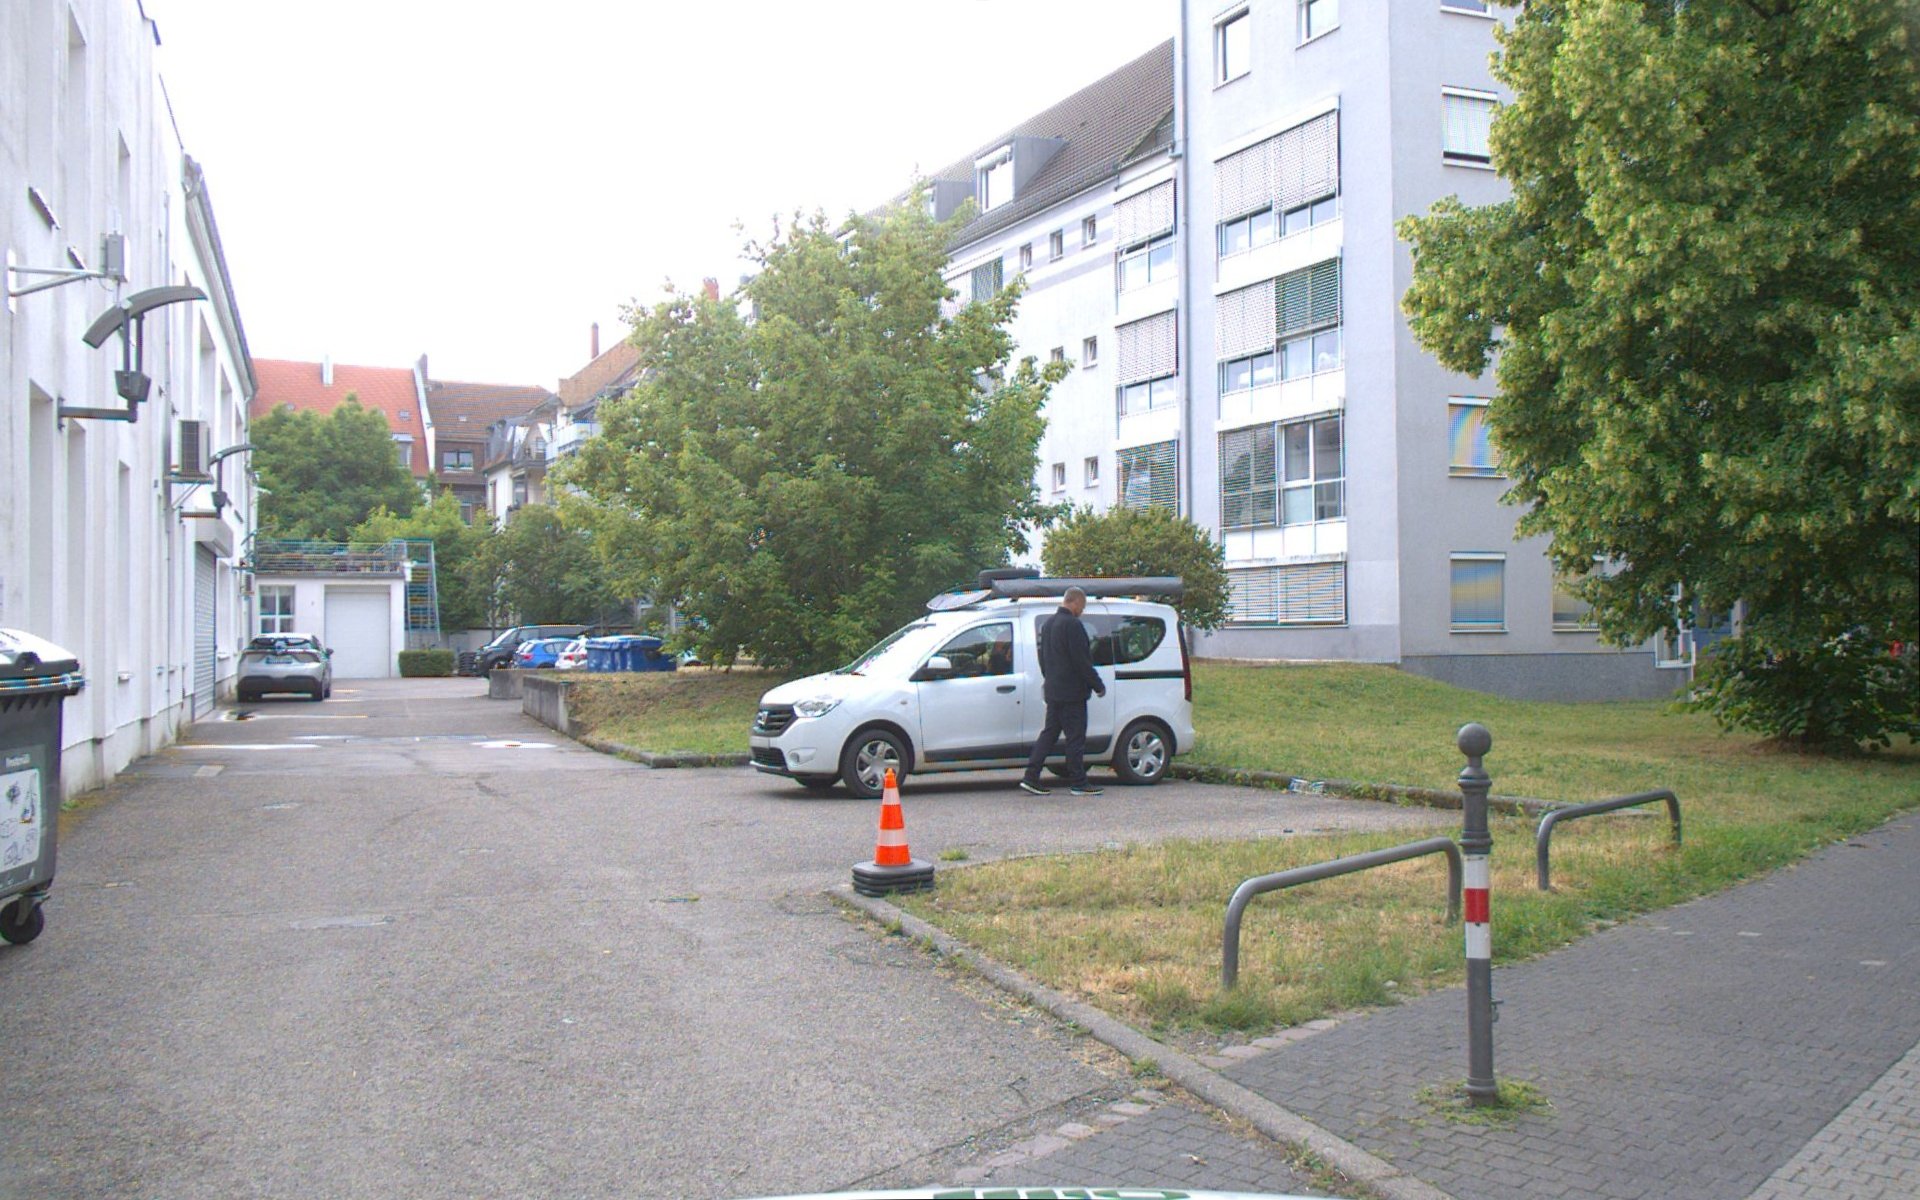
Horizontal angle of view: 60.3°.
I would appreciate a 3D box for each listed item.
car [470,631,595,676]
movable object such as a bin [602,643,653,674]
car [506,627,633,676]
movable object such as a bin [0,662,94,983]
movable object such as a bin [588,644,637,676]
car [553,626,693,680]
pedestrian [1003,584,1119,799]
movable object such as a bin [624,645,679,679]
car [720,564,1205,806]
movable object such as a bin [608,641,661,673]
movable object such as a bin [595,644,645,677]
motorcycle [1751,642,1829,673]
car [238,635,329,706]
[{"bbox_3d":[-15.937,1.966,61.715,4.143,1.601,1.978,0,-1,-33],"label":"car"},{"bbox_3d":[-7.062,1.245,35.115,0.951,0.648,0.905,0,-2,-21],"label":"movable object such as a bin"},{"bbox_3d":[-13.361,1.736,56.671,3.949,1.601,1.567,0,-1,-33],"label":"car"},{"bbox_3d":[-4.513,0.934,7.095,1.033,1.287,1.351,0,-1,-10],"label":"movable object such as a bin"},{"bbox_3d":[-7.738,1.332,36.795,0.951,0.691,0.865,0,-2,-21],"label":"movable object such as a bin"},{"bbox_3d":[-10.673,1.645,52.481,3.949,1.601,1.978,0,-1,-33],"label":"car"},{"bbox_3d":[0.886,0.797,14.620,0.745,1.840,0.692,0,-3,-26],"label":"pedestrian"},{"bbox_3d":[-6.138,1.229,32.879,0.951,0.648,0.905,0,-2,-21],"label":"movable object such as a bin"},{"bbox_3d":[0.039,0.763,15.807,4.285,2.049,1.838,0,-3,-27],"label":"car"},{"bbox_3d":[-6.721,1.173,34.155,0.951,0.648,0.905,0,-2,-21],"label":"movable object such as a bin"},{"bbox_3d":[-7.396,1.323,35.975,0.951,0.691,0.806,0,-2,-21],"label":"movable object such as a bin"},{"bbox_3d":[25.656,1.764,51.075,3.162,0.897,0.949,1,-1,-39],"label":"motorcycle"},{"bbox_3d":[-15.587,1.619,38.261,1.821,1.534,3.974,0,-2,-21],"label":"car"}]
